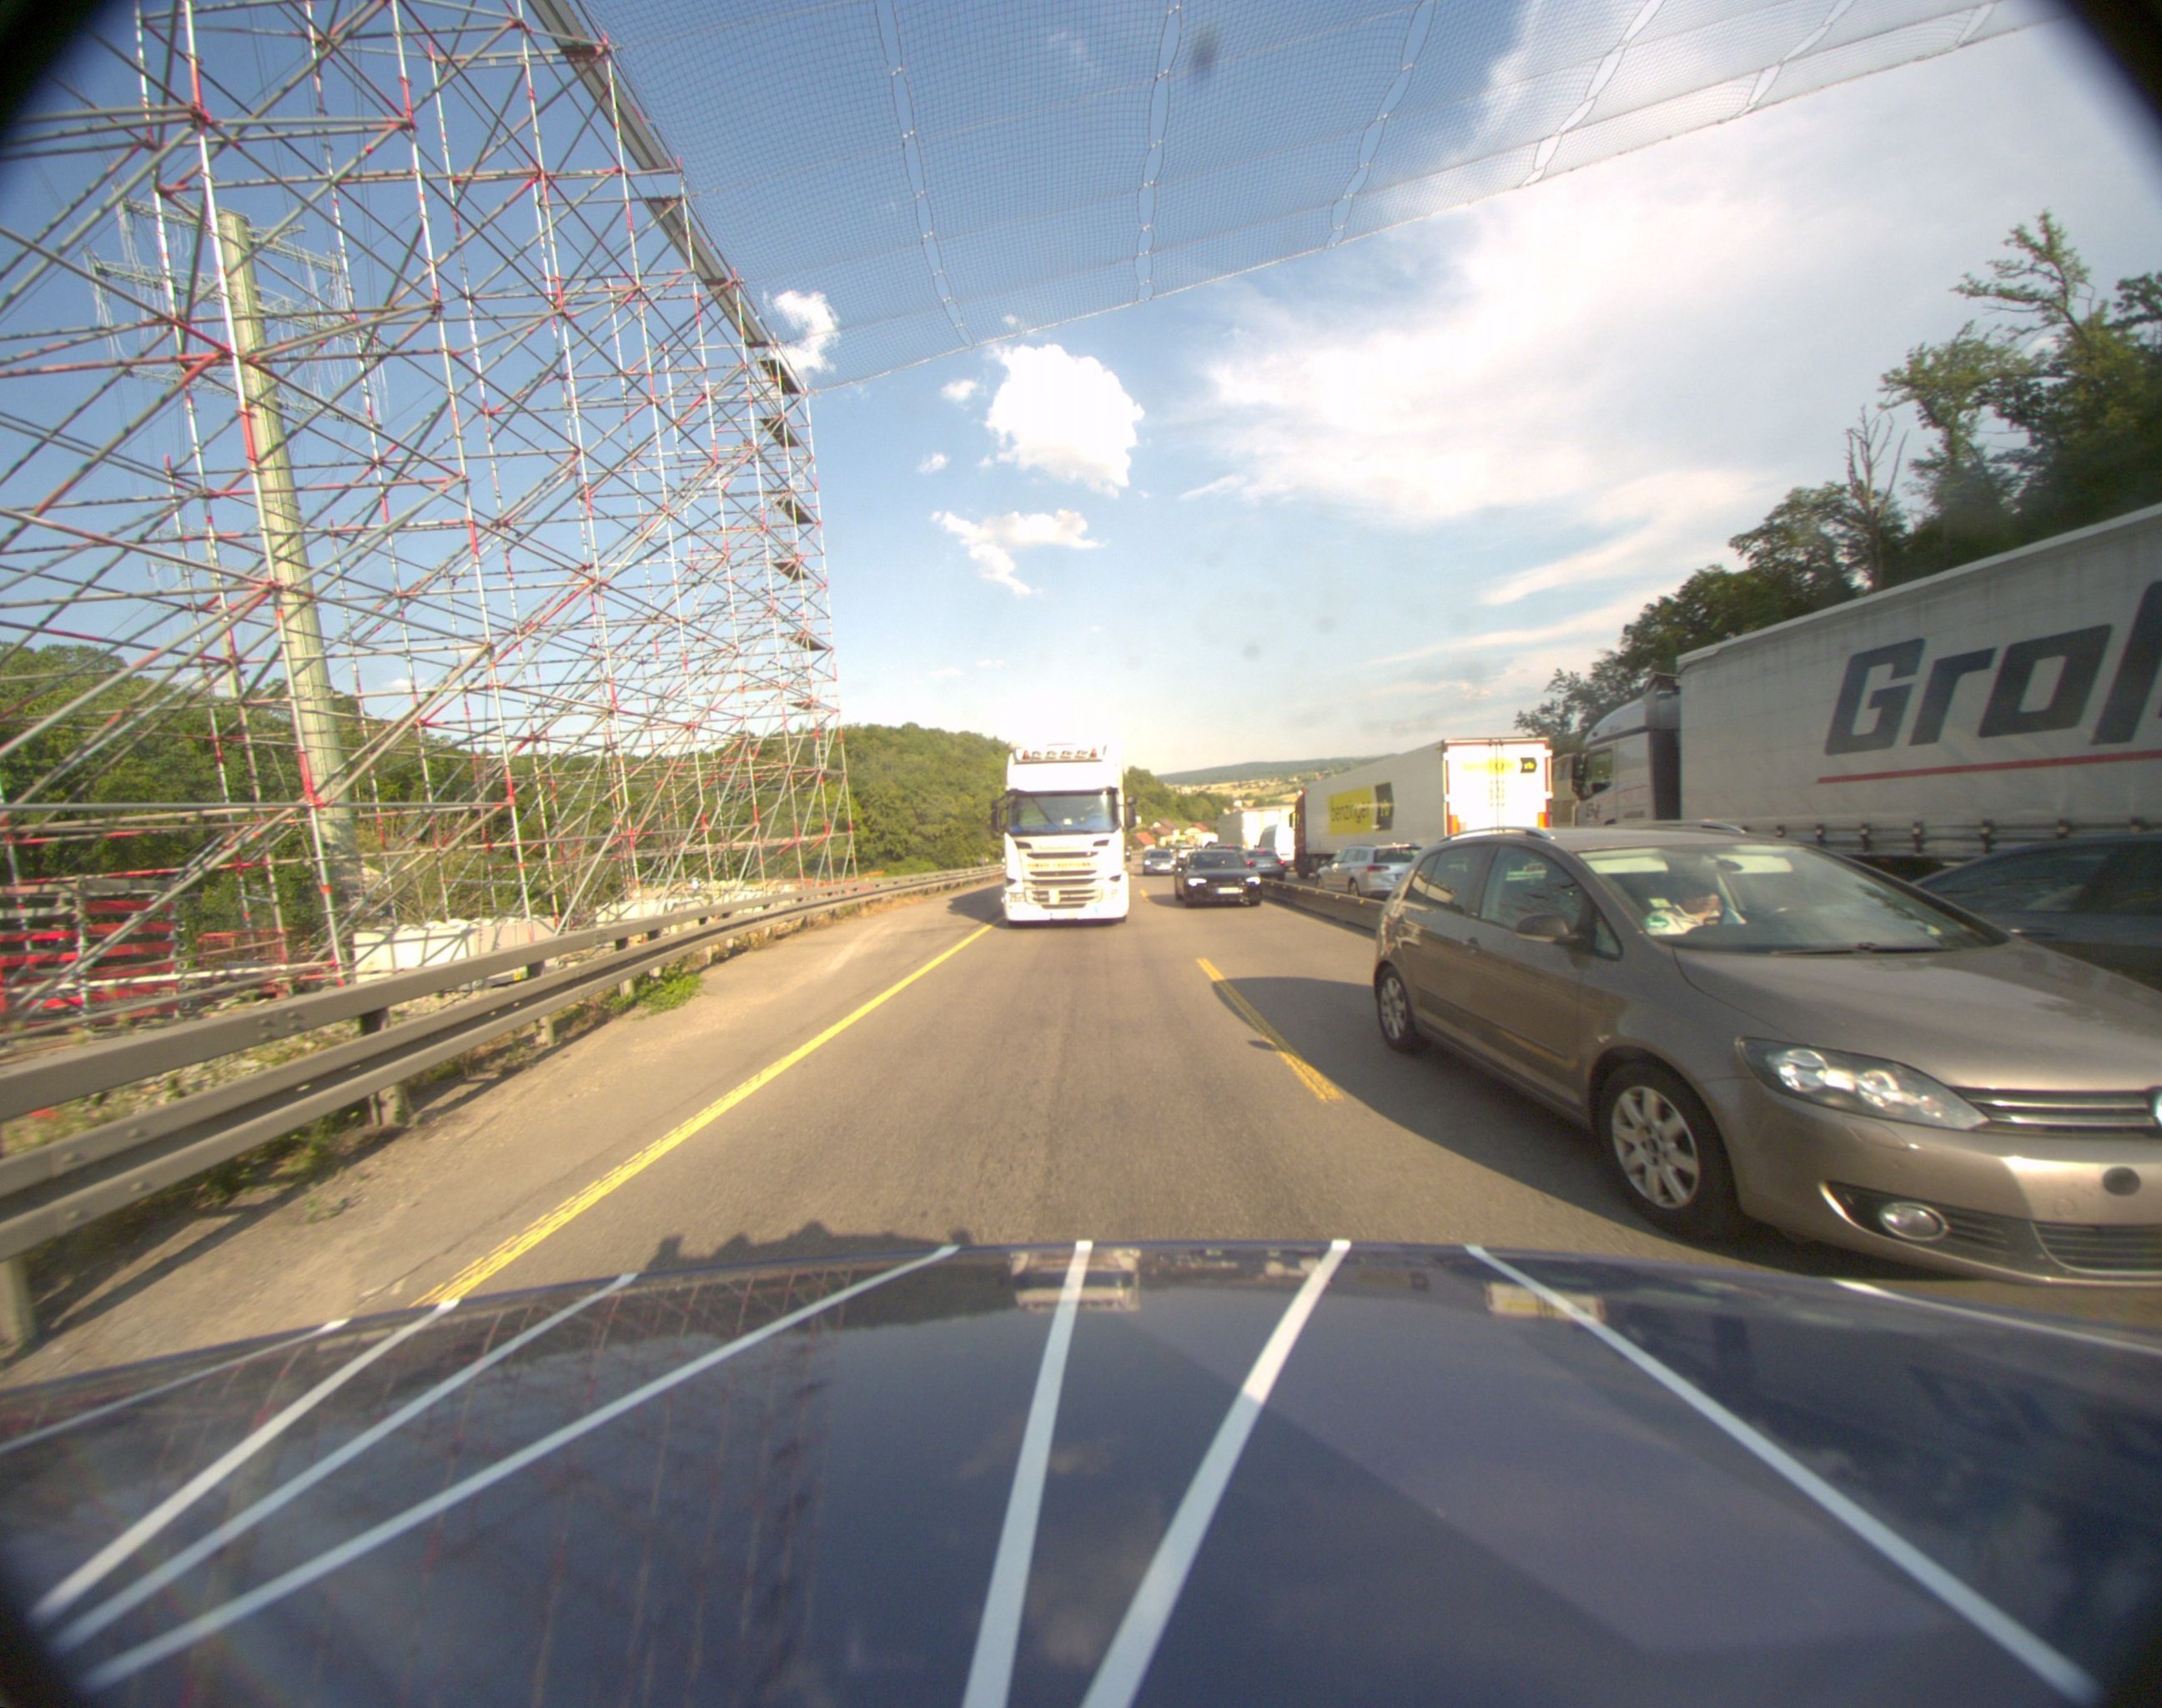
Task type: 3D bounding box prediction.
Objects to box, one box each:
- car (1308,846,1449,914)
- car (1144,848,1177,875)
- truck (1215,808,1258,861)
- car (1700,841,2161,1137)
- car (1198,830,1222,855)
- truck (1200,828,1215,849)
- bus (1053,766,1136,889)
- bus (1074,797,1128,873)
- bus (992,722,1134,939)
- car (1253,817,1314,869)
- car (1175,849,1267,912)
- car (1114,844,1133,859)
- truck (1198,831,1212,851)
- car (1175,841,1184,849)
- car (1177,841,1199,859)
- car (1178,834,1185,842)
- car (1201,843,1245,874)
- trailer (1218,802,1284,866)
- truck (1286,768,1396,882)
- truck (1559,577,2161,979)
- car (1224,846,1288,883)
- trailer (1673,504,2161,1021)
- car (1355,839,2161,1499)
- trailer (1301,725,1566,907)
[{"bbox_3d":[7.340,0.551,19.302,1.736,1.431,4.838,-3,1,1],"label":"car"},{"bbox_3d":[4.441,0.396,42.929,1.698,1.390,4.001,-3,0,5],"label":"car"},{"bbox_3d":[12.996,-1.596,63.996,2.719,4.194,5.683,-2,1,4],"label":"truck"},{"bbox_3d":[6.384,0.688,4.616,1.654,1.455,4.399,-3,1,1],"label":"car"},{"bbox_3d":[15.911,-1.461,94.038,2.339,2.902,7.633,-1,1,5],"label":"car"},{"bbox_3d":[25.792,-3.238,154.974,2.712,4.065,14.160,-1,1,9],"label":"truck"},{"bbox_3d":[0.544,-1.029,33.369,2.985,4.553,9.966,-1,1,1],"label":"bus"},{"bbox_3d":[1.555,-1.222,51.704,2.984,4.553,10.905,-1,1,5],"label":"bus"},{"bbox_3d":[-0.064,-0.575,20.068,2.635,4.077,11.313,-1,1,3],"label":"bus"},{"bbox_3d":[11.613,-0.589,44.118,2.026,2.674,6.950,-3,0,4],"label":"car"},{"bbox_3d":[3.556,0.613,20.028,1.866,1.391,4.000,-1,1,3],"label":"car"},{"bbox_3d":[4.852,-0.285,86.854,1.998,1.630,3.999,-2,1,1],"label":"car"},{"bbox_3d":[22.935,-2.437,140.945,2.451,3.443,7.621,-1,1,10],"label":"truck"},{"bbox_3d":[19.989,-1.819,154.432,1.821,1.570,4.757,0,0,7],"label":"car"},{"bbox_3d":[10.632,-0.422,75.773,1.873,1.579,4.805,-3,1,6],"label":"car"},{"bbox_3d":[28.185,-4.506,212.337,1.821,1.988,4.757,0,0,7],"label":"car"},{"bbox_3d":[7.966,0.212,42.985,1.756,1.648,4.863,-1,1,3],"label":"car"},{"bbox_3d":[12.571,-1.476,57.581,2.727,4.194,13.750,-2,1,4],"label":"trailer"},{"bbox_3d":[10.754,-1.156,32.056,2.751,4.275,5.933,-2,1,2],"label":"truck"},{"bbox_3d":[10.101,-0.832,10.912,2.794,4.118,5.933,-2,1,1],"label":"truck"},{"bbox_3d":[7.534,0.397,33.118,1.735,1.369,4.891,-3,1,2],"label":"car"},{"bbox_3d":[9.984,-0.724,4.181,2.806,4.117,13.964,-2,1,1],"label":"trailer"},{"bbox_3d":[2.971,0.738,3.883,1.688,1.565,4.099,-2,1,1],"label":"car"},{"bbox_3d":[10.515,-1.030,25.256,2.772,4.309,13.880,-2,1,2],"label":"trailer"}]
